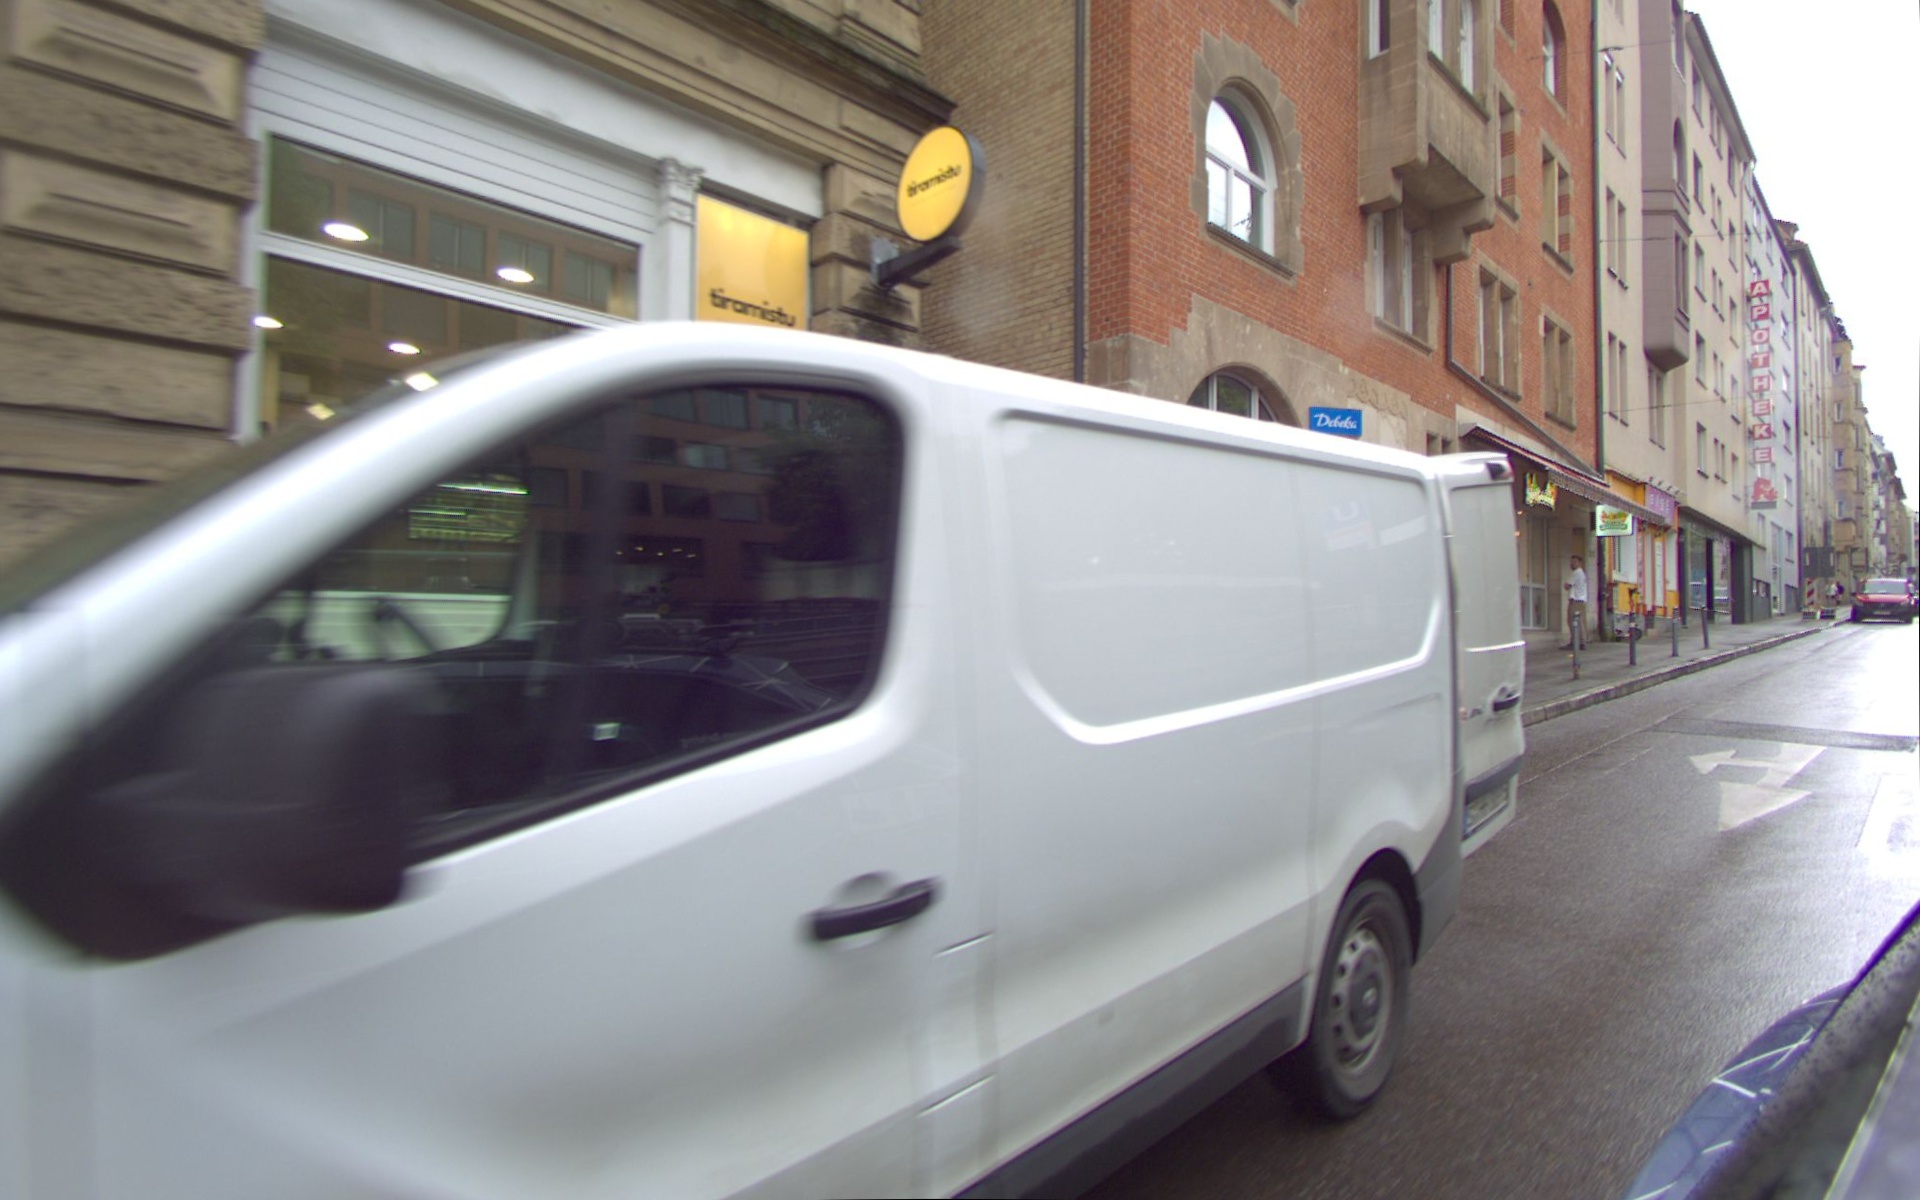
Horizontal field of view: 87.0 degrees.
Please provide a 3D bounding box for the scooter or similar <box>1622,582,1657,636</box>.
[{"bbox_3d":[15.756,0.214,23.476,1.172,1.237,0.258,1,-2,-35],"label":"scooter or similar"}]

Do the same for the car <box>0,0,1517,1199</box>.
[{"bbox_3d":[-0.432,0.448,2.552,4.608,1.960,1.922,-1,0,-44],"label":"car"}]

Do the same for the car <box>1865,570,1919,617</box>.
[{"bbox_3d":[39.527,-0.293,42.620,1.974,1.861,5.164,-1,0,43],"label":"car"}]

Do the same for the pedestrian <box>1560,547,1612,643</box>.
[{"bbox_3d":[12.392,-0.107,20.029,0.567,1.852,0.565,1,3,-13],"label":"pedestrian"}]

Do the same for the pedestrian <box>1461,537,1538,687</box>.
[{"bbox_3d":[6.707,0.133,12.577,0.684,1.776,0.823,0,1,42],"label":"pedestrian"}]

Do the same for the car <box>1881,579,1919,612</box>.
[{"bbox_3d":[50.434,-0.239,53.910,4.424,1.730,1.767,0,0,-44],"label":"car"}]
